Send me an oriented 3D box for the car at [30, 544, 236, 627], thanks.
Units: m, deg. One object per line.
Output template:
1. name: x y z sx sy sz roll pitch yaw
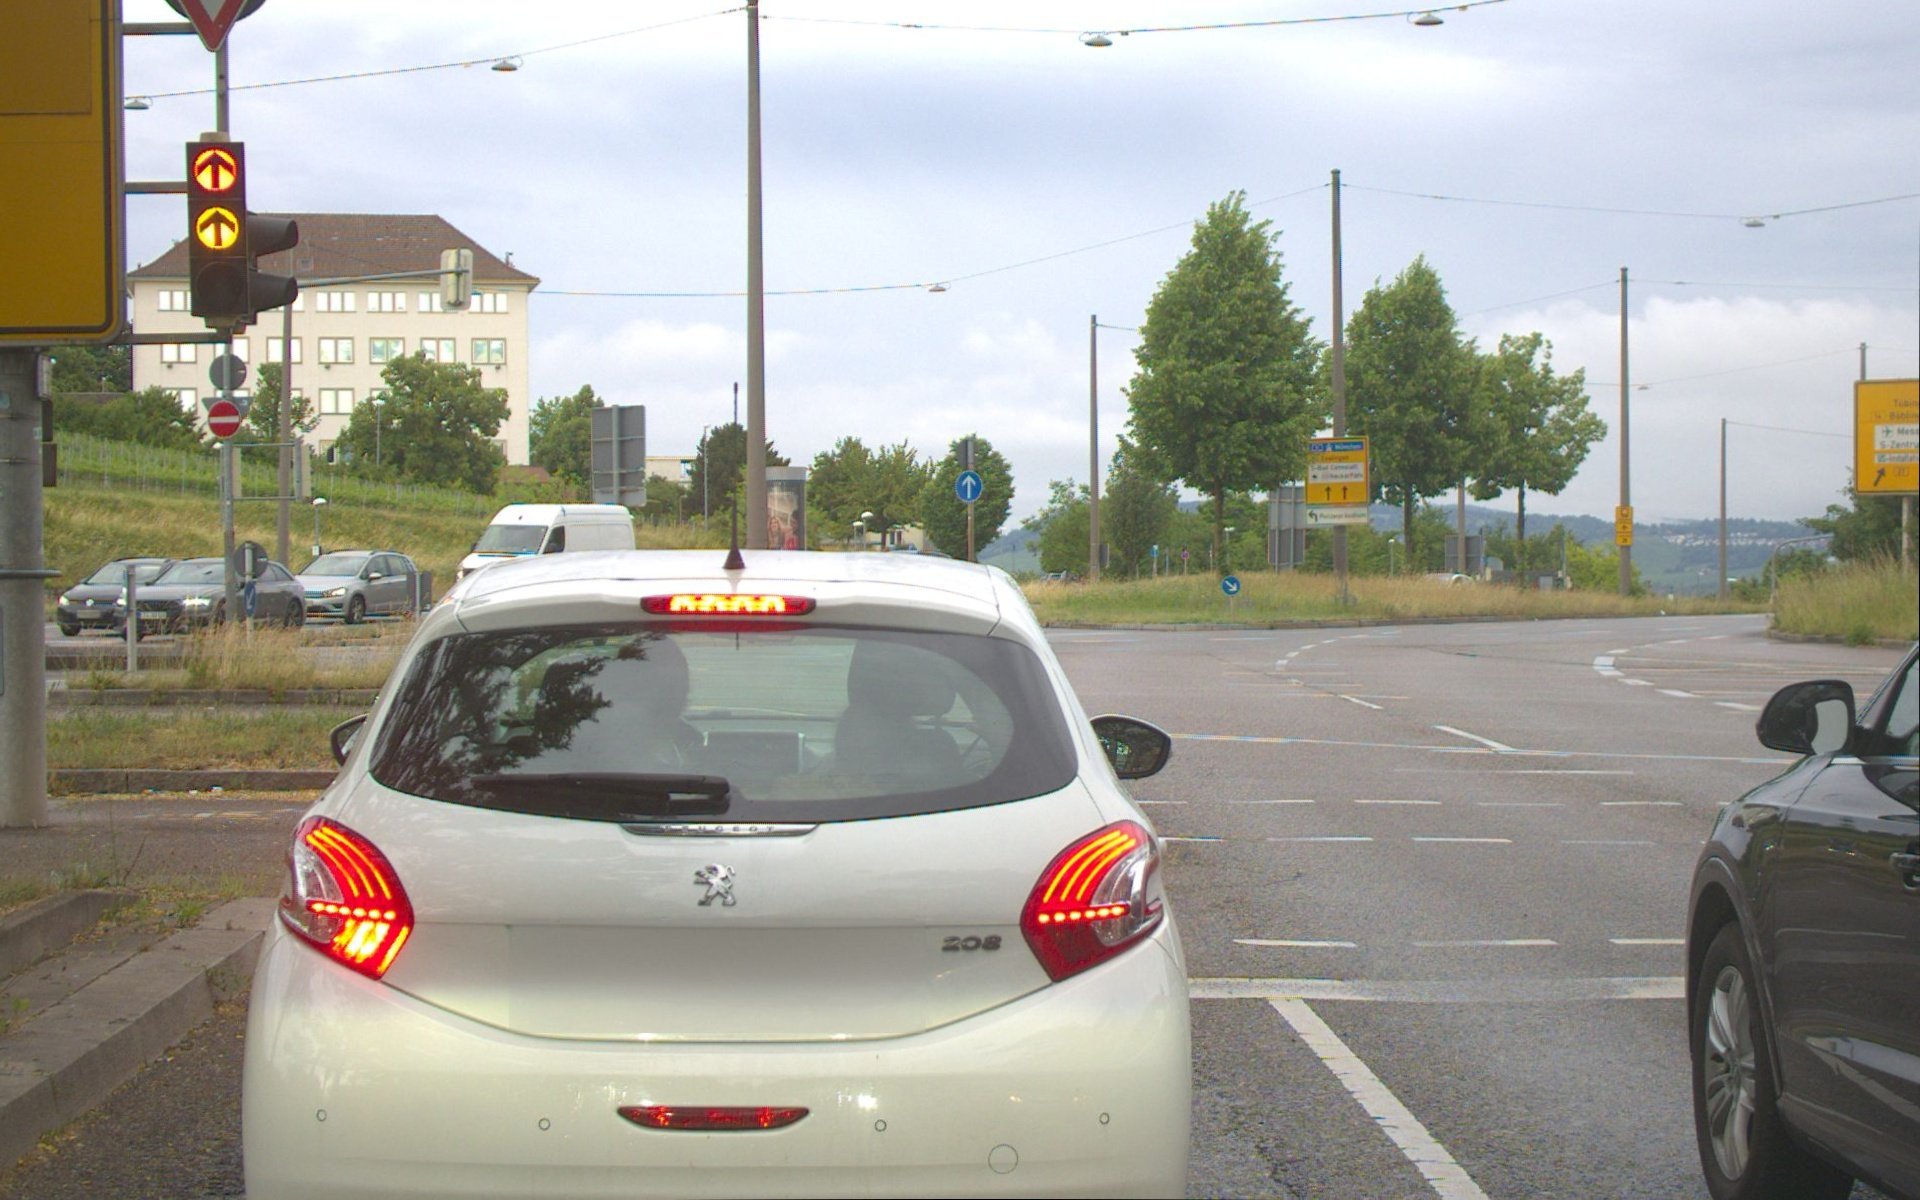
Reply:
1. car: -15.632 -0.304 65.240 1.825 1.467 4.665 0 2 14

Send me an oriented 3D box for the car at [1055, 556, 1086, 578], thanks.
1. car: 7.607 -2.250 237.106 1.841 1.481 4.001 0 1 -3

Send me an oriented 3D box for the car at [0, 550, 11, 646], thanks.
1. car: -14.888 -0.060 48.159 1.787 1.391 3.881 1 0 5

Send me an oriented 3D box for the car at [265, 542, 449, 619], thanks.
1. car: -12.972 -0.409 74.199 1.996 1.570 4.190 2 0 21

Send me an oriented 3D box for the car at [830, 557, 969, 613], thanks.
1. car: -1.740 -0.422 99.933 1.997 1.507 4.224 2 0 33

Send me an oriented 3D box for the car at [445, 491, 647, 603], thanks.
1. car: -9.979 -1.247 83.406 1.996 2.550 6.162 2 0 23

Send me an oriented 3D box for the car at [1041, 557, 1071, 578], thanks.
1. car: 6.853 -2.340 245.485 1.841 1.481 4.001 0 1 -3

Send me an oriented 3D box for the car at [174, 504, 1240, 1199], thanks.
1. car: -0.463 0.577 7.582 1.717 1.484 4.000 1 1 -2

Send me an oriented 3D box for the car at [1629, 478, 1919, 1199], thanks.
1. car: 2.592 0.608 6.080 1.884 1.590 4.114 2 0 -1

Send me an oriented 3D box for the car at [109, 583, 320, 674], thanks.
1. car: -13.083 0.472 60.674 1.902 1.484 4.890 1 0 10

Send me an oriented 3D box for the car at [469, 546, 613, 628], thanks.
1. car: -7.545 -0.242 62.295 1.776 1.420 4.373 0 0 4
